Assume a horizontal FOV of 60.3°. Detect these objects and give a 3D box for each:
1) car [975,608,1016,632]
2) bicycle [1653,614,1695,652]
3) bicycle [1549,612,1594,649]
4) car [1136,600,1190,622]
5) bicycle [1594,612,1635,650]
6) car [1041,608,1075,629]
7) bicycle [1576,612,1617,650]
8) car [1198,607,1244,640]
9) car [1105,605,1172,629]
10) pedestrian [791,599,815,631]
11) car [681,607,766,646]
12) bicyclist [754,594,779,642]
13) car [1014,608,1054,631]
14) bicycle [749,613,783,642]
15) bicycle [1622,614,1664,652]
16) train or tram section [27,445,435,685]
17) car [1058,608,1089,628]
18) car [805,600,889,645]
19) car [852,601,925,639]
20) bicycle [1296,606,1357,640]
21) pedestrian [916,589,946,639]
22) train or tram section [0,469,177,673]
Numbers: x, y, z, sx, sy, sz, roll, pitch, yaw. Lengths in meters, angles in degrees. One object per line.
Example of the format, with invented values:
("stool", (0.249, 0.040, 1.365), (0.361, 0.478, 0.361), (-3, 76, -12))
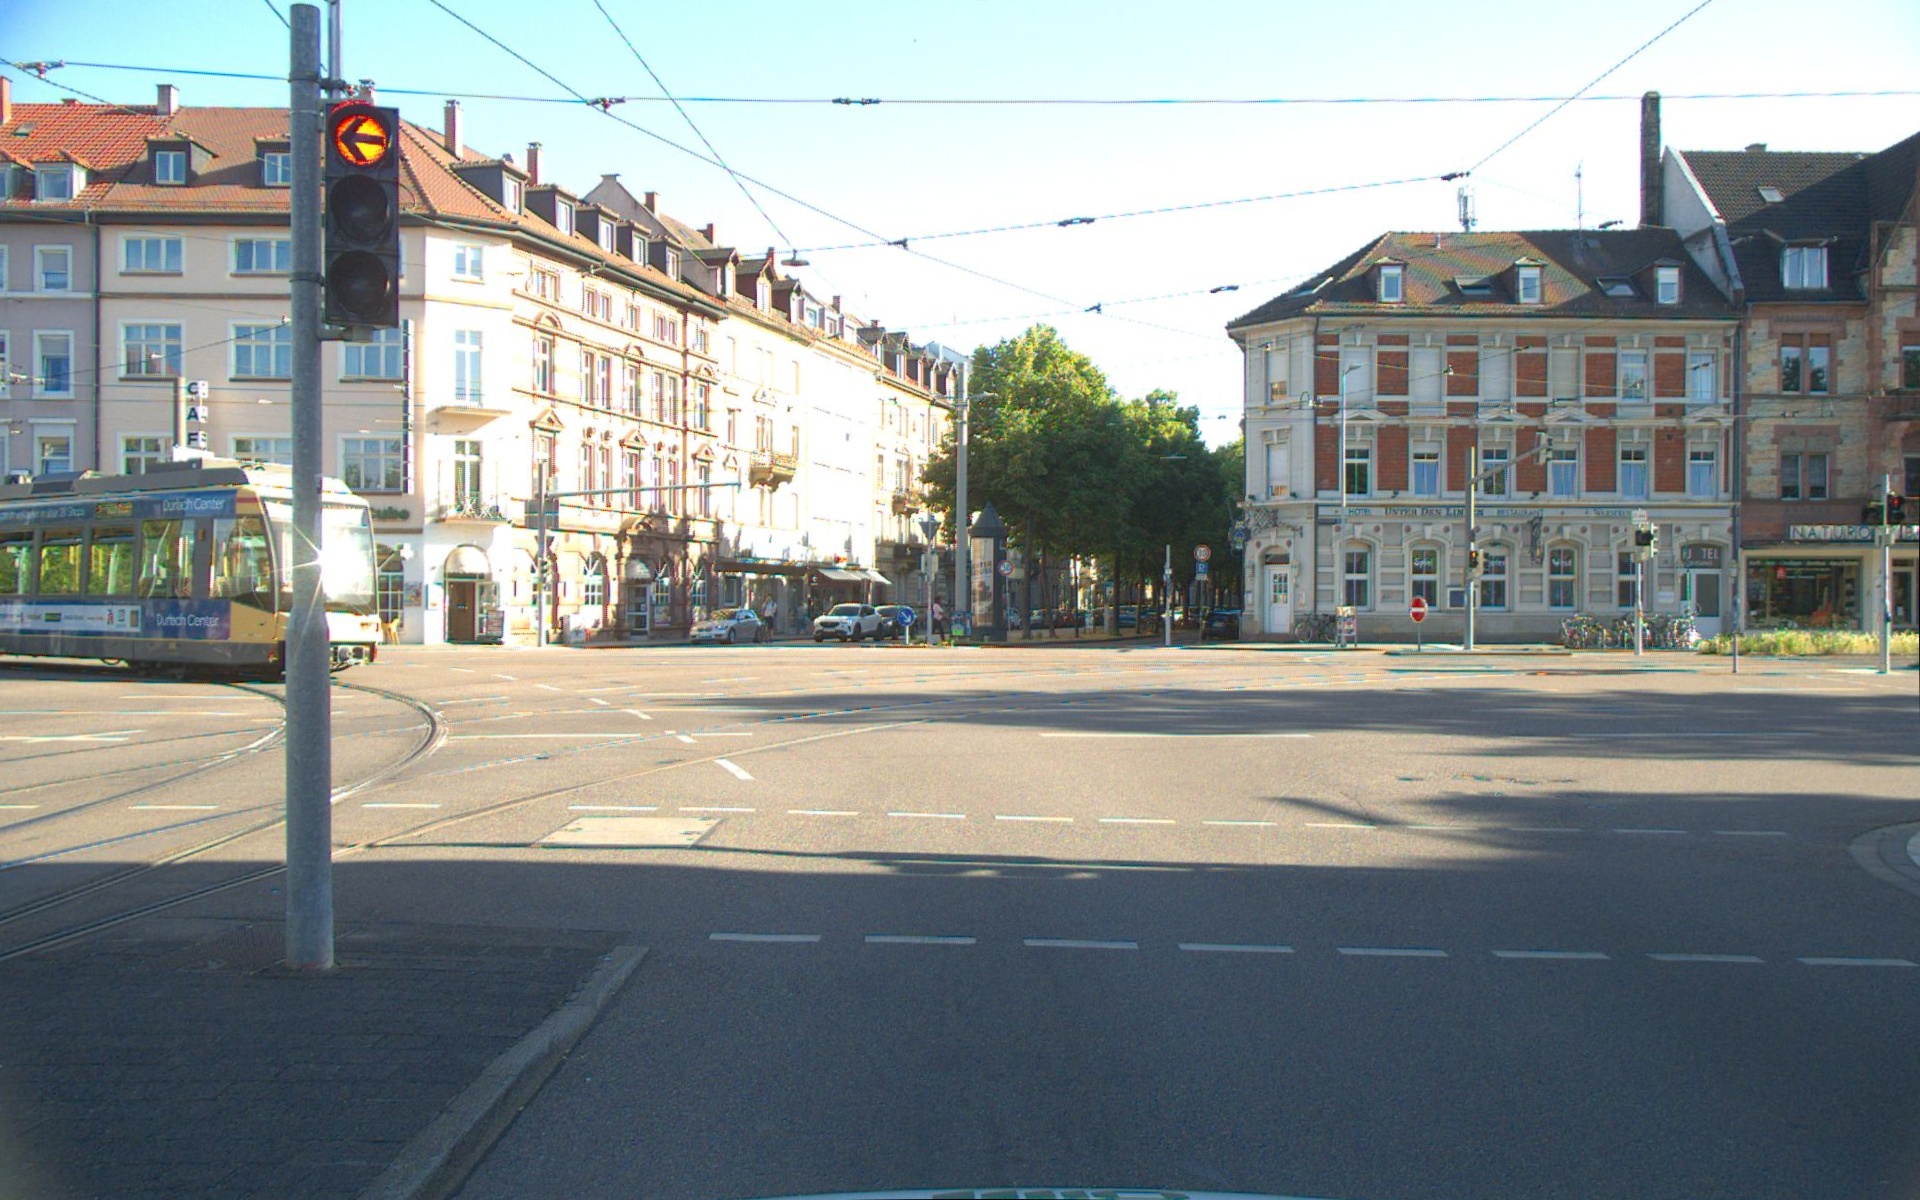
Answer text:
("car", (2.407, 1.321, 110.988), (1.951, 1.512, 4.003), (0, 0, 13))
("bicycle", (23.035, 1.055, 53.397), (0.596, 1.156, 2.136), (0, 0, 4))
("bicycle", (19.820, 0.985, 53.657), (0.789, 1.163, 2.175), (0, 0, 4))
("car", (16.412, 0.880, 133.871), (3.912, 1.736, 1.996), (0, 0, 30))
("bicycle", (21.163, 0.990, 53.508), (0.605, 1.163, 2.175), (0, 0, 4))
("car", (7.774, 1.418, 130.561), (1.798, 1.579, 4.393), (0, 0, 16))
("bicycle", (20.591, 0.996, 53.538), (0.605, 1.163, 2.175), (0, 0, 4))
("car", (13.067, 1.156, 82.632), (1.951, 1.613, 4.003), (0, 0, 13))
("car", (12.474, 1.193, 115.593), (4.290, 1.640, 1.998), (0, 0, 26))
("pedestrian", (-7.929, 0.755, 83.712), (0.908, 1.562, 1.138), (0, 0, 13))
("car", (-9.528, 1.033, 66.897), (1.858, 1.481, 4.002), (0, 0, 17))
("bicyclist", (-7.587, 0.692, 64.929), (0.664, 1.852, 1.071), (0, 0, 12))
("car", (5.521, 1.421, 122.736), (1.951, 1.640, 4.393), (0, 0, 17))
("bicycle", (-7.598, 1.079, 64.887), (0.665, 1.085, 2.127), (0, 0, 12))
("bicycle", (22.071, 1.052, 53.449), (0.605, 1.163, 2.175), (0, 0, 4))
("train or tram section", (-12.457, -0.537, 27.941), (7.803, 3.561, 2.813), (0, 0, 36))
("car", (9.386, 1.457, 136.462), (1.727, 1.576, 4.394), (0, 0, 16))
("car", (-4.545, 0.882, 67.251), (1.951, 1.713, 4.393), (0, 0, 17))
("car", (-3.151, 0.859, 73.786), (1.951, 1.640, 4.393), (0, 0, 17))
("bicycle", (12.749, 0.815, 57.581), (2.045, 1.144, 0.366), (1, -1, -5))
("pedestrian", (-1.035, 0.486, 58.400), (1.026, 1.774, 0.808), (0, 0, -5))
("train or tram section", (-19.146, -0.525, 32.271), (8.276, 3.561, 2.818), (0, 0, 30))
